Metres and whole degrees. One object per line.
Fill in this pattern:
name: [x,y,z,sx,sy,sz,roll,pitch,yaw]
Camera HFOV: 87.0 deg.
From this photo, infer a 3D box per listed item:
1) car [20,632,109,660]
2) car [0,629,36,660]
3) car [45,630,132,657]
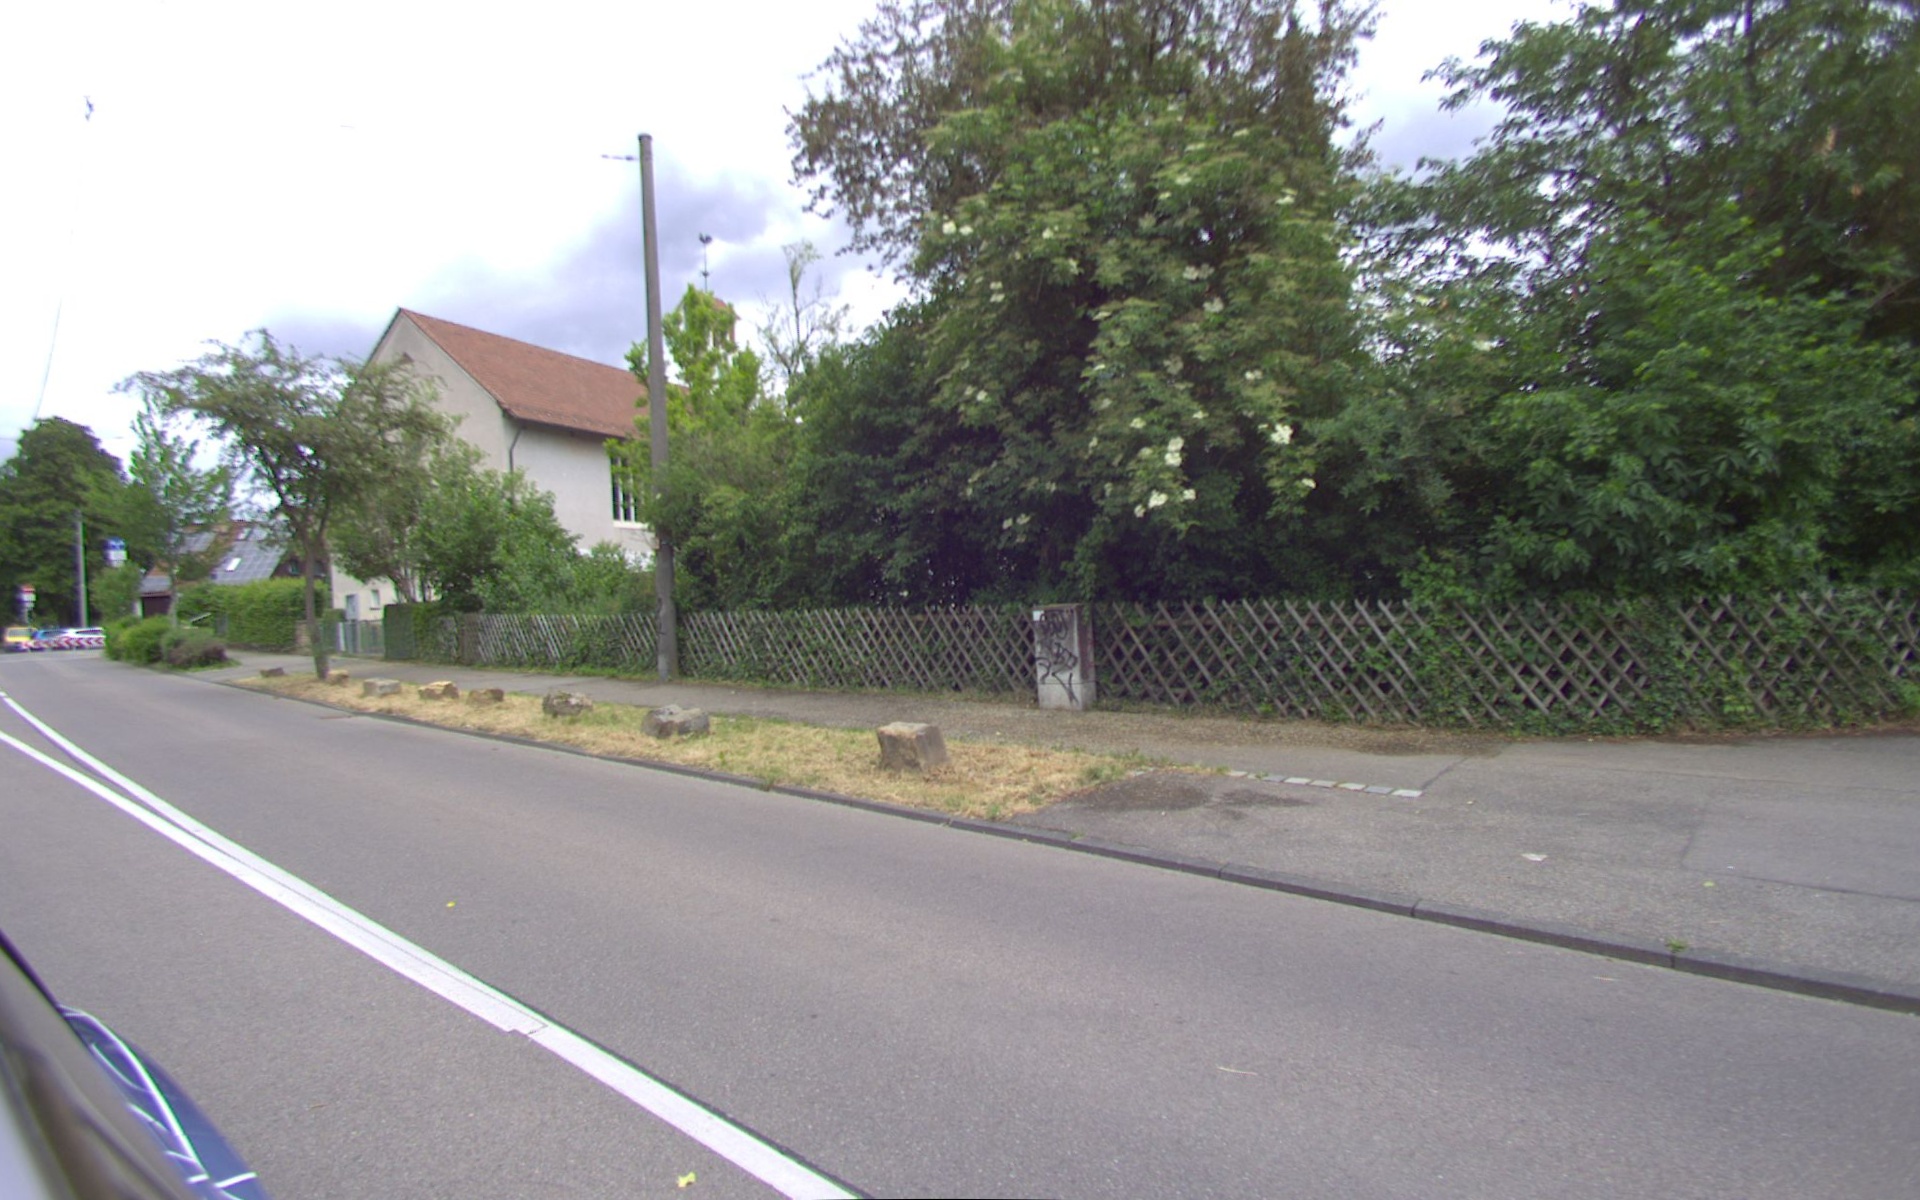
car: [-58.363,2.961,65.976,1.844,1.558,4.123,-4,-2,40]
car: [-65.565,3.091,70.245,1.894,2.004,4.803,-2,-1,-45]
car: [-56.027,2.794,65.100,1.840,1.483,3.862,-4,-1,33]
